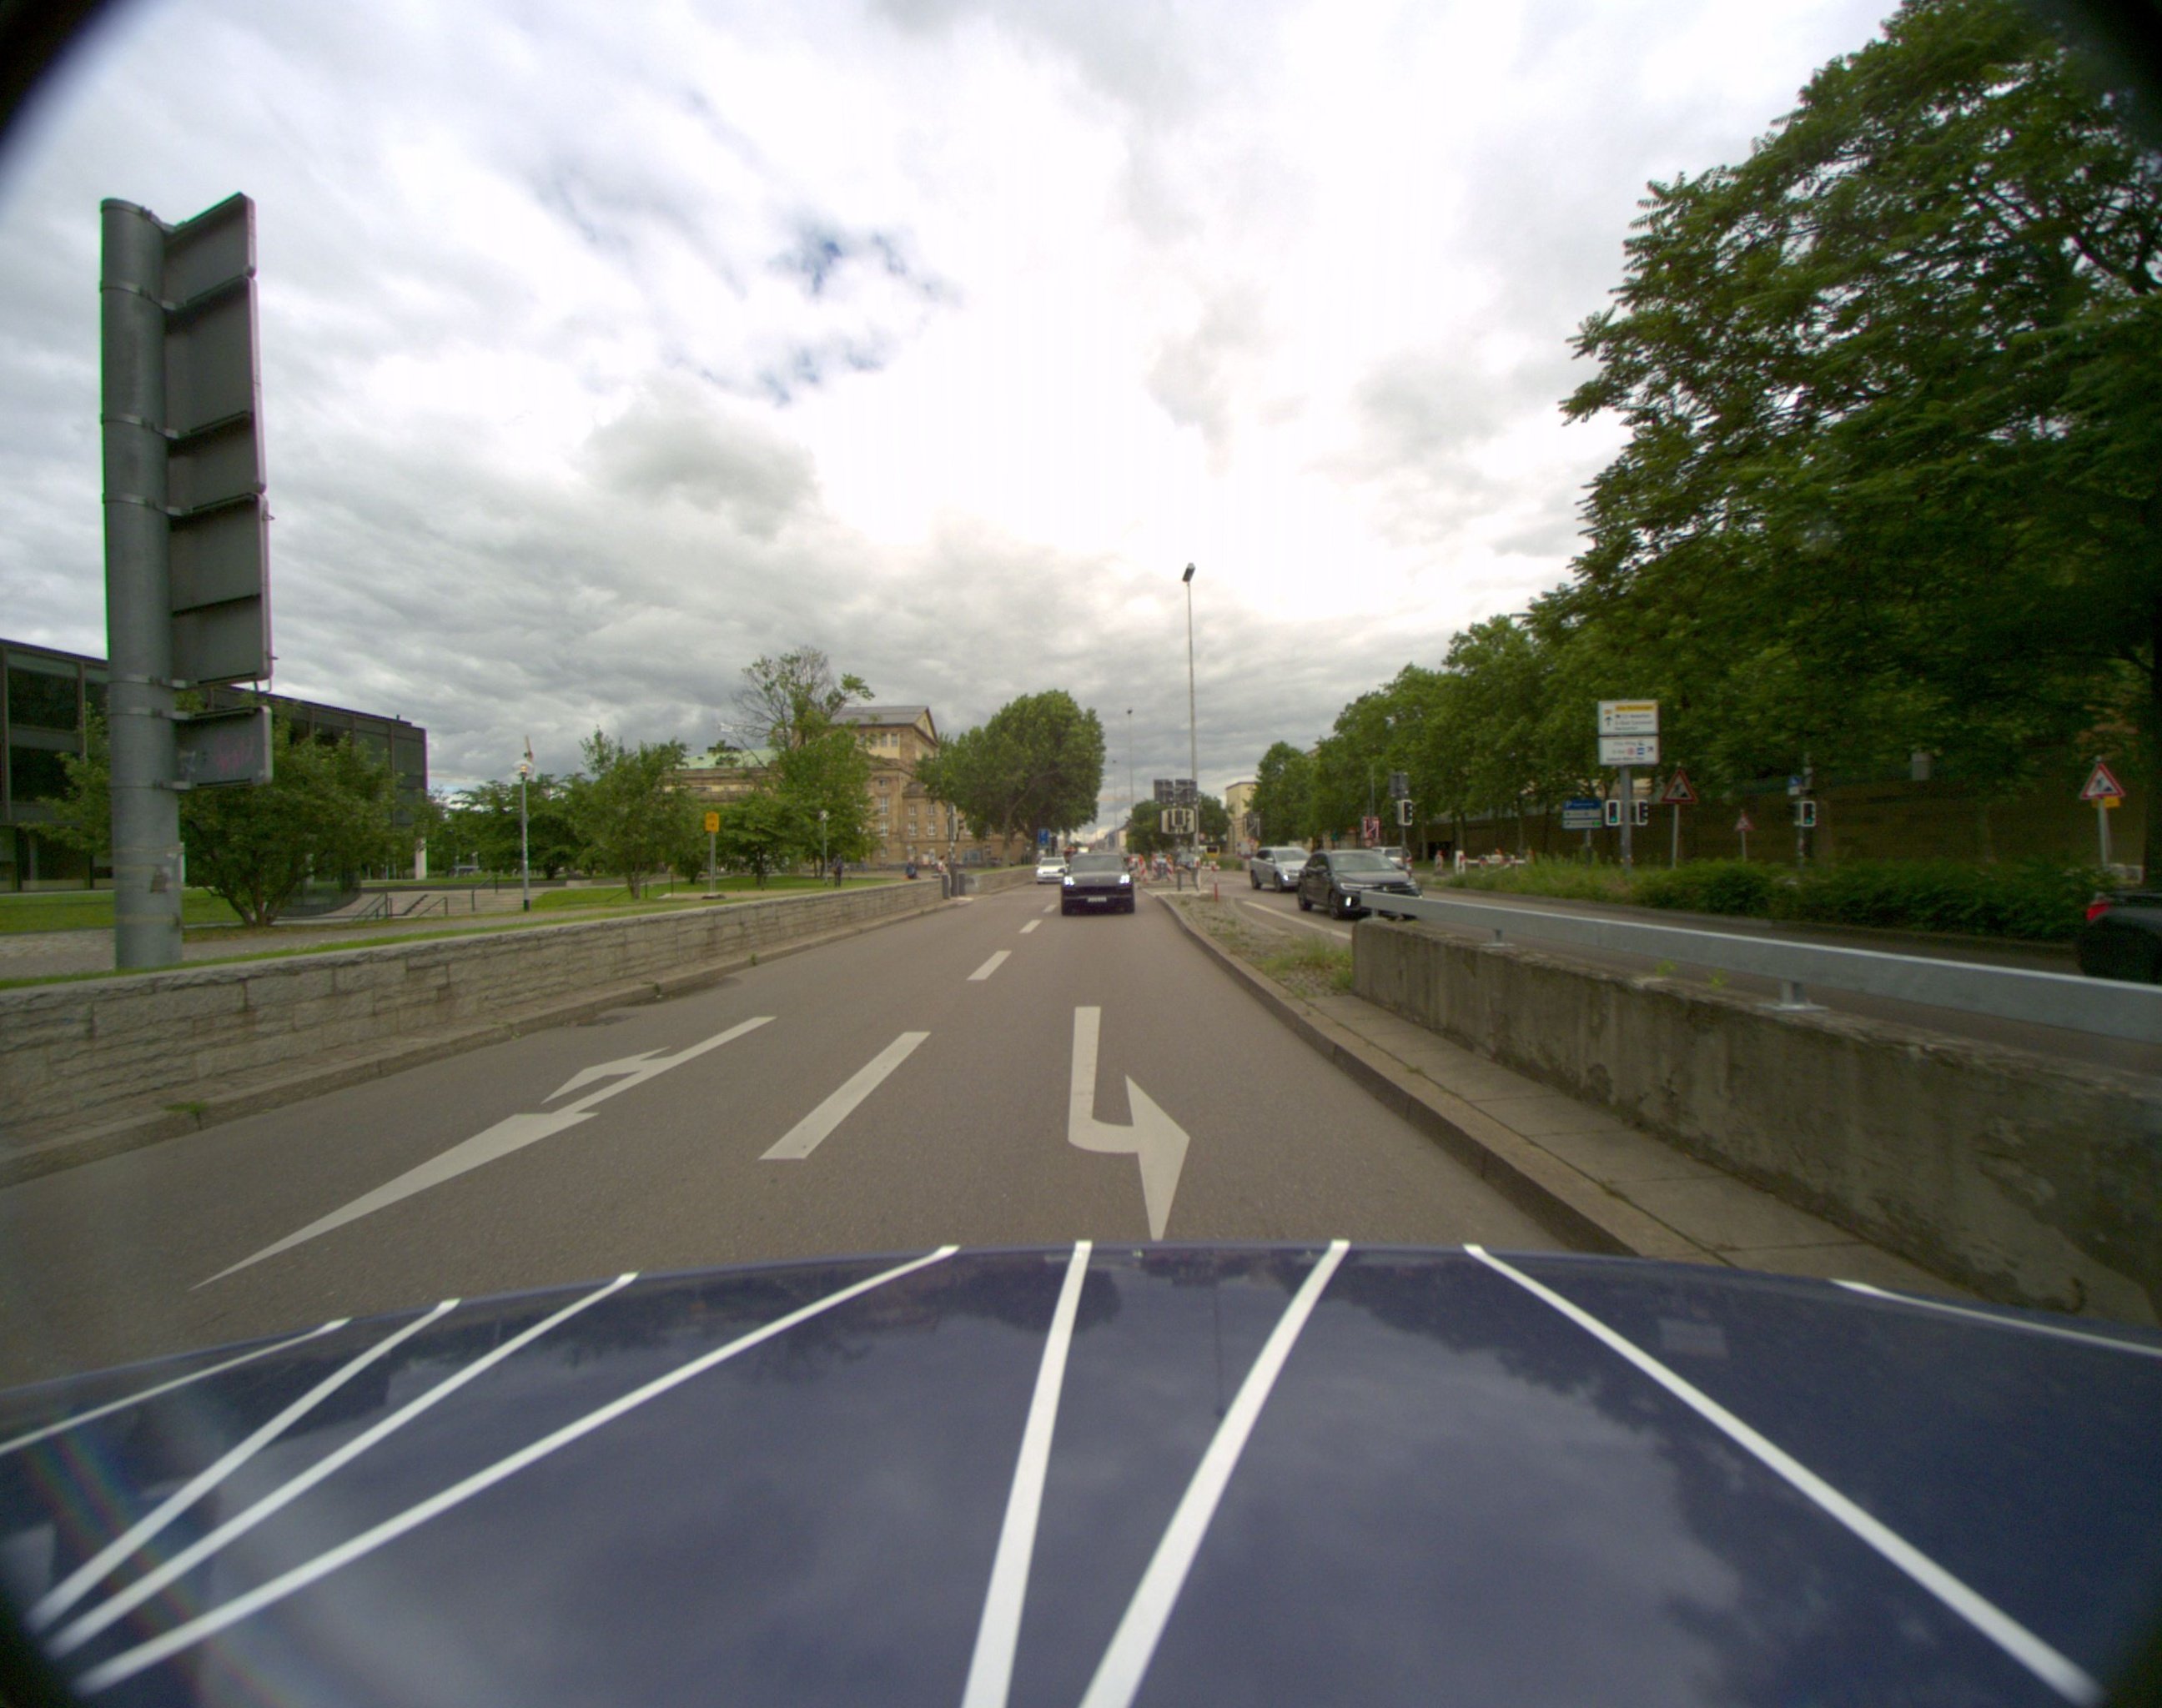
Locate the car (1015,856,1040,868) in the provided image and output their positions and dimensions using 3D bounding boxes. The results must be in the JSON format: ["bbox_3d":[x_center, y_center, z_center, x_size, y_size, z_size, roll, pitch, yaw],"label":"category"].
[{"bbox_3d":[-8.764,1.307,124.508,3.998,1.587,1.734,-4,1,-3],"label":"car"}]

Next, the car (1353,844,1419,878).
[{"bbox_3d":[16.271,0.323,40.697,1.760,1.647,3.999,-4,1,-2],"label":"car"}]

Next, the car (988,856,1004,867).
[{"bbox_3d":[-12.416,1.124,111.438,1.768,1.508,4.219,-1,-1,2],"label":"car"}]

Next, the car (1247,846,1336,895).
[{"bbox_3d":[7.779,0.548,28.607,1.999,1.607,4.737,-2,1,0],"label":"car"}]

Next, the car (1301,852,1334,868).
[{"bbox_3d":[21.107,0.495,67.846,1.730,1.364,4.000,-1,0,1],"label":"car"}]

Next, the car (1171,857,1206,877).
[{"bbox_3d":[8.525,1.033,60.634,1.999,1.474,4.808,-2,0,-1],"label":"car"}]

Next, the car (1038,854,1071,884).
[{"bbox_3d":[-1.563,0.862,46.277,1.696,1.585,4.000,-4,1,2],"label":"car"}]

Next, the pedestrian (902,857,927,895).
[{"bbox_3d":[-7.031,0.915,32.113,0.683,1.553,0.909,0,1,18],"label":"pedestrian"}]

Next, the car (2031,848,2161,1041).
[{"bbox_3d":[9.374,0.689,4.295,1.998,1.474,4.809,-2,0,0],"label":"car"}]

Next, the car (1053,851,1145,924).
[{"bbox_3d":[0.352,0.869,20.839,2.062,1.616,4.601,-4,-1,-3],"label":"car"}]

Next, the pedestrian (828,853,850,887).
[{"bbox_3d":[-11.498,0.762,36.096,0.803,1.617,0.626,-1,0,8],"label":"pedestrian"}]

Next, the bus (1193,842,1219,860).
[{"bbox_3d":[23.288,-0.558,142.073,2.920,3.285,10.448,-1,0,-1],"label":"bus"}]

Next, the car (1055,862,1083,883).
[{"bbox_3d":[-1.069,1.529,64.348,2.062,1.616,4.600,-3,0,-4],"label":"car"}]

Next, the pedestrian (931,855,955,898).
[{"bbox_3d":[-5.466,0.893,30.156,0.699,1.646,0.683,-4,1,0],"label":"pedestrian"}]

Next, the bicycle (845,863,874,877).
[{"bbox_3d":[-18.669,1.329,64.139,2.197,1.135,0.686,-1,0,0],"label":"bicycle"}]

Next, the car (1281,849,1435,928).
[{"bbox_3d":[6.217,0.686,17.612,1.768,1.507,4.150,-3,1,-4],"label":"car"}]

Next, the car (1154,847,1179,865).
[{"bbox_3d":[8.588,0.181,76.345,1.999,1.636,4.000,-2,0,-1],"label":"car"}]
